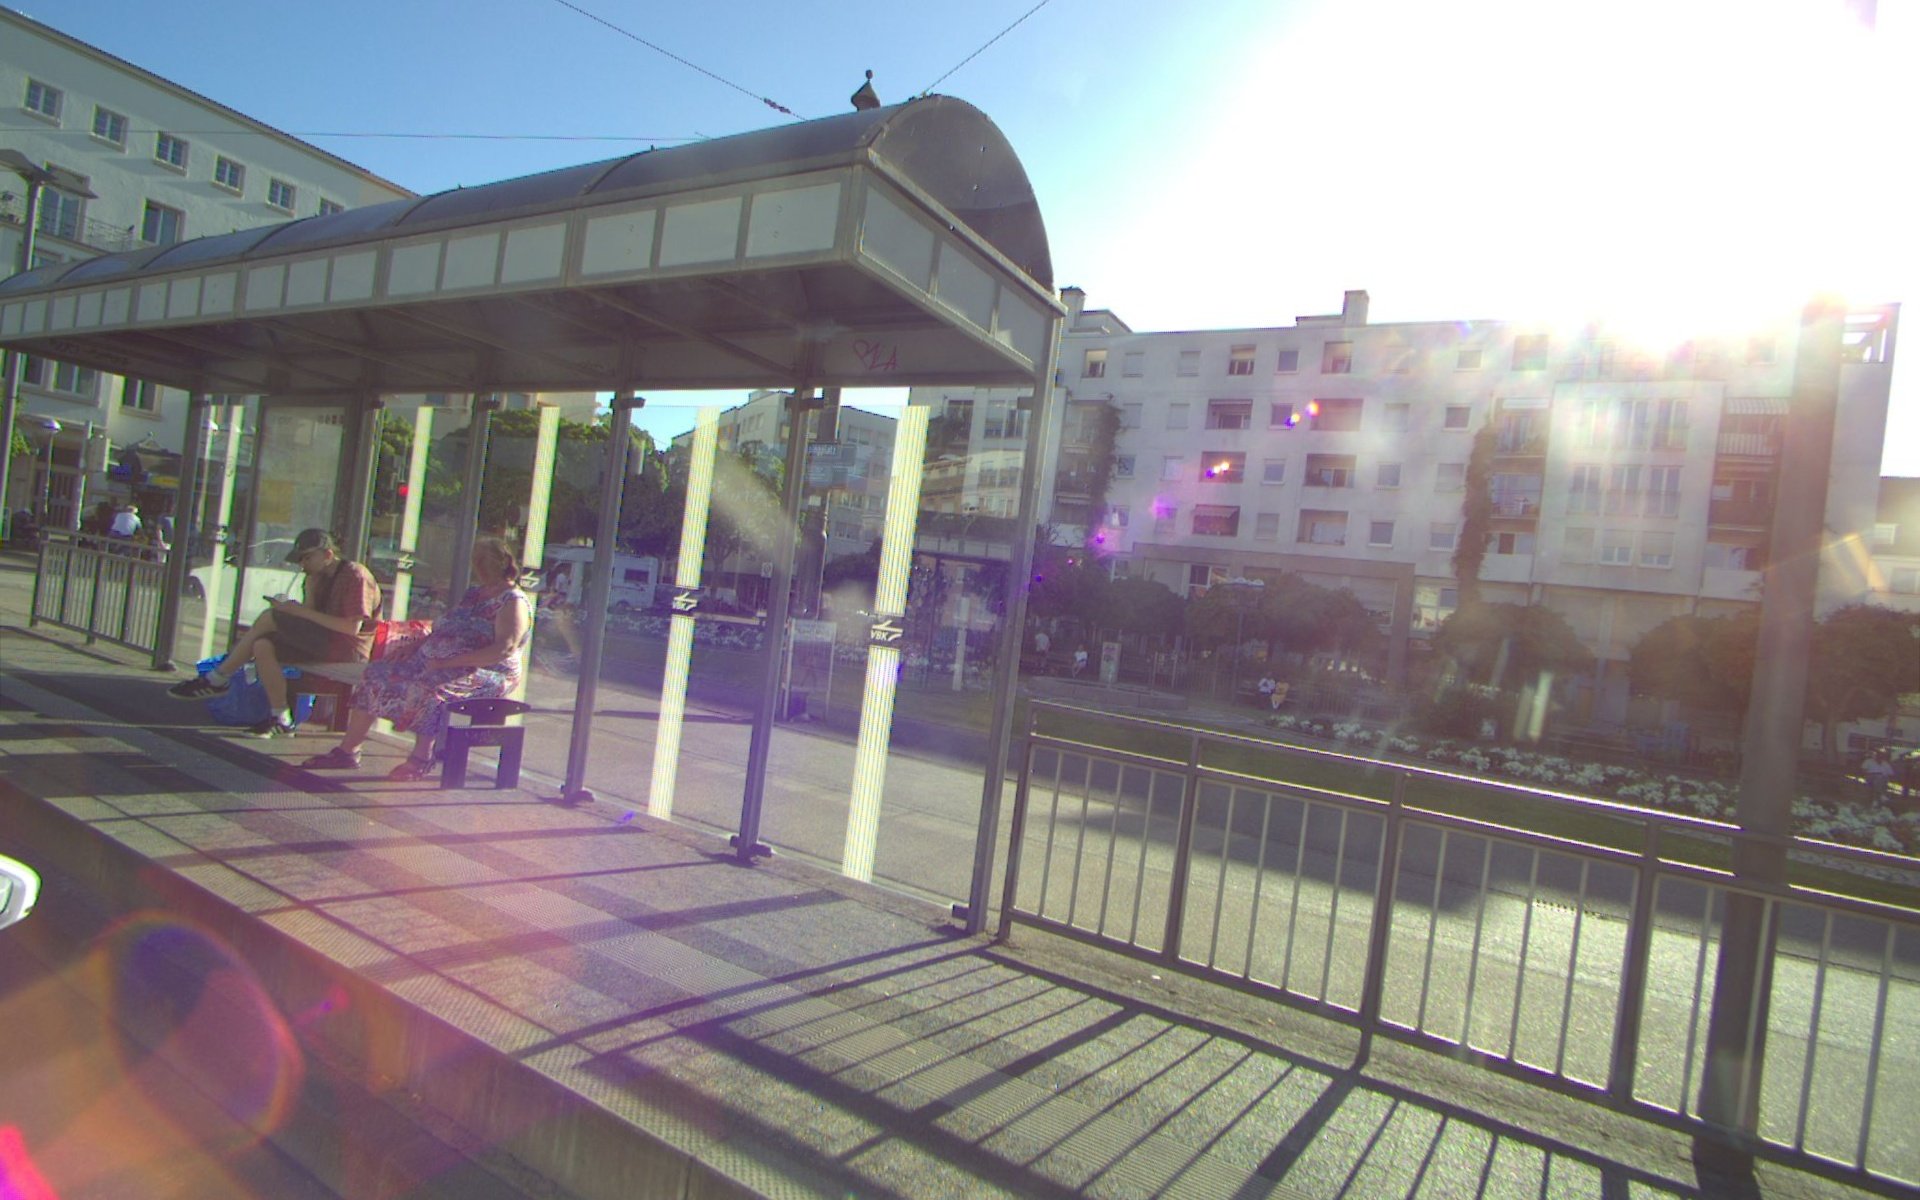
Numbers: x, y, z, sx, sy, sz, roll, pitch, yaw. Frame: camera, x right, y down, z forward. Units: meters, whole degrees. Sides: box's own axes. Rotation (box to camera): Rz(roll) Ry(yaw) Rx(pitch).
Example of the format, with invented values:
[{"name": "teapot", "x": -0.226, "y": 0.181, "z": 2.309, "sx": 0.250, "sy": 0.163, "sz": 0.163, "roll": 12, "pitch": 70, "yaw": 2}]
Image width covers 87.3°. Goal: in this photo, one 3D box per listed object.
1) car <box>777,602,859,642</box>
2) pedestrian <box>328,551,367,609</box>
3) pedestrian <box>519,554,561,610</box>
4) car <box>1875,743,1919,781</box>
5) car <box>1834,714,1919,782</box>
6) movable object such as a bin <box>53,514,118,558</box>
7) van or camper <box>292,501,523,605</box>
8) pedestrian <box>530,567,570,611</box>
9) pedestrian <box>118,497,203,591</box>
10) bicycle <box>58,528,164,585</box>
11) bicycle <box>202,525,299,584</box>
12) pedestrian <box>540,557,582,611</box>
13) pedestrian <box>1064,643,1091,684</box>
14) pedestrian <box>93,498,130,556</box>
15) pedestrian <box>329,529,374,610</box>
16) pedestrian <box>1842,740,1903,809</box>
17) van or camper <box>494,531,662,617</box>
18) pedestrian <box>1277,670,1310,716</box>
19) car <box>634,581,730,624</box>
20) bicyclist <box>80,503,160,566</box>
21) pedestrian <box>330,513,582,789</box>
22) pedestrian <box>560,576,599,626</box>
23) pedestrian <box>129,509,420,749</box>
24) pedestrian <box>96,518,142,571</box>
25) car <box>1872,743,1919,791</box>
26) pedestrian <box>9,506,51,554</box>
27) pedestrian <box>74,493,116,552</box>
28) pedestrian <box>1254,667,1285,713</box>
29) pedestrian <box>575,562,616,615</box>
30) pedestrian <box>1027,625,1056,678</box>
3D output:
[{"name": "car", "x": -6.697, "y": 1.077, "z": 47.965, "sx": 1.964, "sy": 1.503, "sz": 4.000, "roll": 7, "pitch": -1, "yaw": 23}, {"name": "pedestrian", "x": -13.424, "y": -0.437, "z": 22.043, "sx": 0.550, "sy": 1.182, "sz": 0.469, "roll": 6, "pitch": -2, "yaw": 40}, {"name": "pedestrian", "x": -13.904, "y": -0.594, "z": 33.304, "sx": 0.684, "sy": 1.705, "sz": 0.902, "roll": 7, "pitch": 0, "yaw": 35}, {"name": "car", "x": 39.837, "y": 6.805, "z": 40.678, "sx": 3.941, "sy": 1.303, "sz": 1.993, "roll": 7, "pitch": -1, "yaw": 38}, {"name": "car", "x": 43.875, "y": 6.940, "z": 45.169, "sx": 6.285, "sy": 2.585, "sz": 2.812, "roll": 7, "pitch": -1, "yaw": 28}, {"name": "movable object such as a bin", "x": -28.106, "y": -2.050, "z": 32.350, "sx": 1.197, "sy": 1.167, "sz": 1.200, "roll": 7, "pitch": -1, "yaw": 32}, {"name": "van or camper", "x": -20.424, "y": -1.623, "z": 37.701, "sx": 2.331, "sy": 2.780, "sz": 7.132, "roll": 9, "pitch": 0, "yaw": 32}, {"name": "pedestrian", "x": -13.314, "y": -0.365, "z": 32.708, "sx": 0.595, "sy": 1.295, "sz": 0.902, "roll": 7, "pitch": 0, "yaw": 37}, {"name": "pedestrian", "x": -17.757, "y": -1.236, "z": 22.340, "sx": 1.110, "sy": 1.900, "sz": 0.983, "roll": 6, "pitch": -1, "yaw": 29}, {"name": "bicycle", "x": -19.438, "y": -0.962, "z": 23.101, "sx": 0.709, "sy": 1.073, "sz": 2.320, "roll": 9, "pitch": -2, "yaw": -11}, {"name": "bicycle", "x": -23.627, "y": -1.494, "z": 33.549, "sx": 0.714, "sy": 1.548, "sz": 2.391, "roll": 7, "pitch": -3, "yaw": 31}, {"name": "pedestrian", "x": -12.833, "y": -0.506, "z": 32.368, "sx": 0.651, "sy": 1.605, "sz": 0.902, "roll": 7, "pitch": 0, "yaw": 35}, {"name": "pedestrian", "x": 4.071, "y": 2.194, "z": 34.858, "sx": 0.718, "sy": 1.287, "sz": 1.042, "roll": 7, "pitch": 0, "yaw": 11}, {"name": "pedestrian", "x": -28.742, "y": -2.476, "z": 34.065, "sx": 0.649, "sy": 1.861, "sz": 0.653, "roll": 7, "pitch": 0, "yaw": 35}, {"name": "pedestrian", "x": -13.786, "y": -0.690, "z": 22.808, "sx": 0.520, "sy": 1.765, "sz": 0.557, "roll": 6, "pitch": -1, "yaw": 42}, {"name": "pedestrian", "x": 21.582, "y": 4.097, "z": 23.820, "sx": 0.923, "sy": 1.428, "sz": 1.521, "roll": 7, "pitch": -1, "yaw": 42}, {"name": "van or camper", "x": -16.487, "y": -1.045, "z": 43.835, "sx": 2.340, "sy": 2.873, "sz": 6.411, "roll": 7, "pitch": -1, "yaw": 35}, {"name": "pedestrian", "x": 10.313, "y": 2.864, "z": 31.140, "sx": 0.718, "sy": 1.287, "sz": 0.745, "roll": 7, "pitch": 0, "yaw": 11}, {"name": "car", "x": -13.681, "y": 0.145, "z": 49.648, "sx": 1.974, "sy": 1.529, "sz": 3.982, "roll": 6, "pitch": -3, "yaw": 43}, {"name": "bicyclist", "x": -19.339, "y": -1.499, "z": 23.193, "sx": 0.939, "sy": 1.239, "sz": 0.932, "roll": 9, "pitch": -2, "yaw": -11}, {"name": "pedestrian", "x": -2.721, "y": 0.295, "z": 5.493, "sx": 0.613, "sy": 1.348, "sz": 0.861, "roll": 6, "pitch": -4, "yaw": 31}, {"name": "pedestrian", "x": -13.214, "y": 0.024, "z": 34.922, "sx": 0.651, "sy": 1.604, "sz": 0.902, "roll": 7, "pitch": 0, "yaw": 35}, {"name": "pedestrian", "x": -4.060, "y": 0.191, "z": 6.003, "sx": 0.908, "sy": 1.238, "sz": 1.001, "roll": 6, "pitch": -4, "yaw": 32}, {"name": "pedestrian", "x": -25.375, "y": -1.686, "z": 30.368, "sx": 0.742, "sy": 1.427, "sz": 0.731, "roll": 11, "pitch": 1, "yaw": 32}, {"name": "car", "x": 36.426, "y": 6.384, "z": 37.033, "sx": 3.941, "sy": 1.535, "sz": 1.993, "roll": 7, "pitch": -1, "yaw": 38}, {"name": "pedestrian", "x": -27.990, "y": -2.109, "z": 30.284, "sx": 0.736, "sy": 1.332, "sz": 0.622, "roll": 7, "pitch": 0, "yaw": -35}, {"name": "pedestrian", "x": -29.414, "y": -2.644, "z": 34.197, "sx": 0.667, "sy": 1.861, "sz": 0.785, "roll": 7, "pitch": 0, "yaw": 35}, {"name": "pedestrian", "x": 9.612, "y": 2.792, "z": 31.279, "sx": 0.718, "sy": 1.287, "sz": 0.745, "roll": 7, "pitch": 0, "yaw": 11}, {"name": "pedestrian", "x": -12.044, "y": -0.364, "z": 33.243, "sx": 0.651, "sy": 1.605, "sz": 0.902, "roll": 7, "pitch": 0, "yaw": 35}, {"name": "pedestrian", "x": 2.819, "y": 1.781, "z": 34.734, "sx": 0.661, "sy": 1.745, "sz": 1.028, "roll": 7, "pitch": 0, "yaw": 11}]
